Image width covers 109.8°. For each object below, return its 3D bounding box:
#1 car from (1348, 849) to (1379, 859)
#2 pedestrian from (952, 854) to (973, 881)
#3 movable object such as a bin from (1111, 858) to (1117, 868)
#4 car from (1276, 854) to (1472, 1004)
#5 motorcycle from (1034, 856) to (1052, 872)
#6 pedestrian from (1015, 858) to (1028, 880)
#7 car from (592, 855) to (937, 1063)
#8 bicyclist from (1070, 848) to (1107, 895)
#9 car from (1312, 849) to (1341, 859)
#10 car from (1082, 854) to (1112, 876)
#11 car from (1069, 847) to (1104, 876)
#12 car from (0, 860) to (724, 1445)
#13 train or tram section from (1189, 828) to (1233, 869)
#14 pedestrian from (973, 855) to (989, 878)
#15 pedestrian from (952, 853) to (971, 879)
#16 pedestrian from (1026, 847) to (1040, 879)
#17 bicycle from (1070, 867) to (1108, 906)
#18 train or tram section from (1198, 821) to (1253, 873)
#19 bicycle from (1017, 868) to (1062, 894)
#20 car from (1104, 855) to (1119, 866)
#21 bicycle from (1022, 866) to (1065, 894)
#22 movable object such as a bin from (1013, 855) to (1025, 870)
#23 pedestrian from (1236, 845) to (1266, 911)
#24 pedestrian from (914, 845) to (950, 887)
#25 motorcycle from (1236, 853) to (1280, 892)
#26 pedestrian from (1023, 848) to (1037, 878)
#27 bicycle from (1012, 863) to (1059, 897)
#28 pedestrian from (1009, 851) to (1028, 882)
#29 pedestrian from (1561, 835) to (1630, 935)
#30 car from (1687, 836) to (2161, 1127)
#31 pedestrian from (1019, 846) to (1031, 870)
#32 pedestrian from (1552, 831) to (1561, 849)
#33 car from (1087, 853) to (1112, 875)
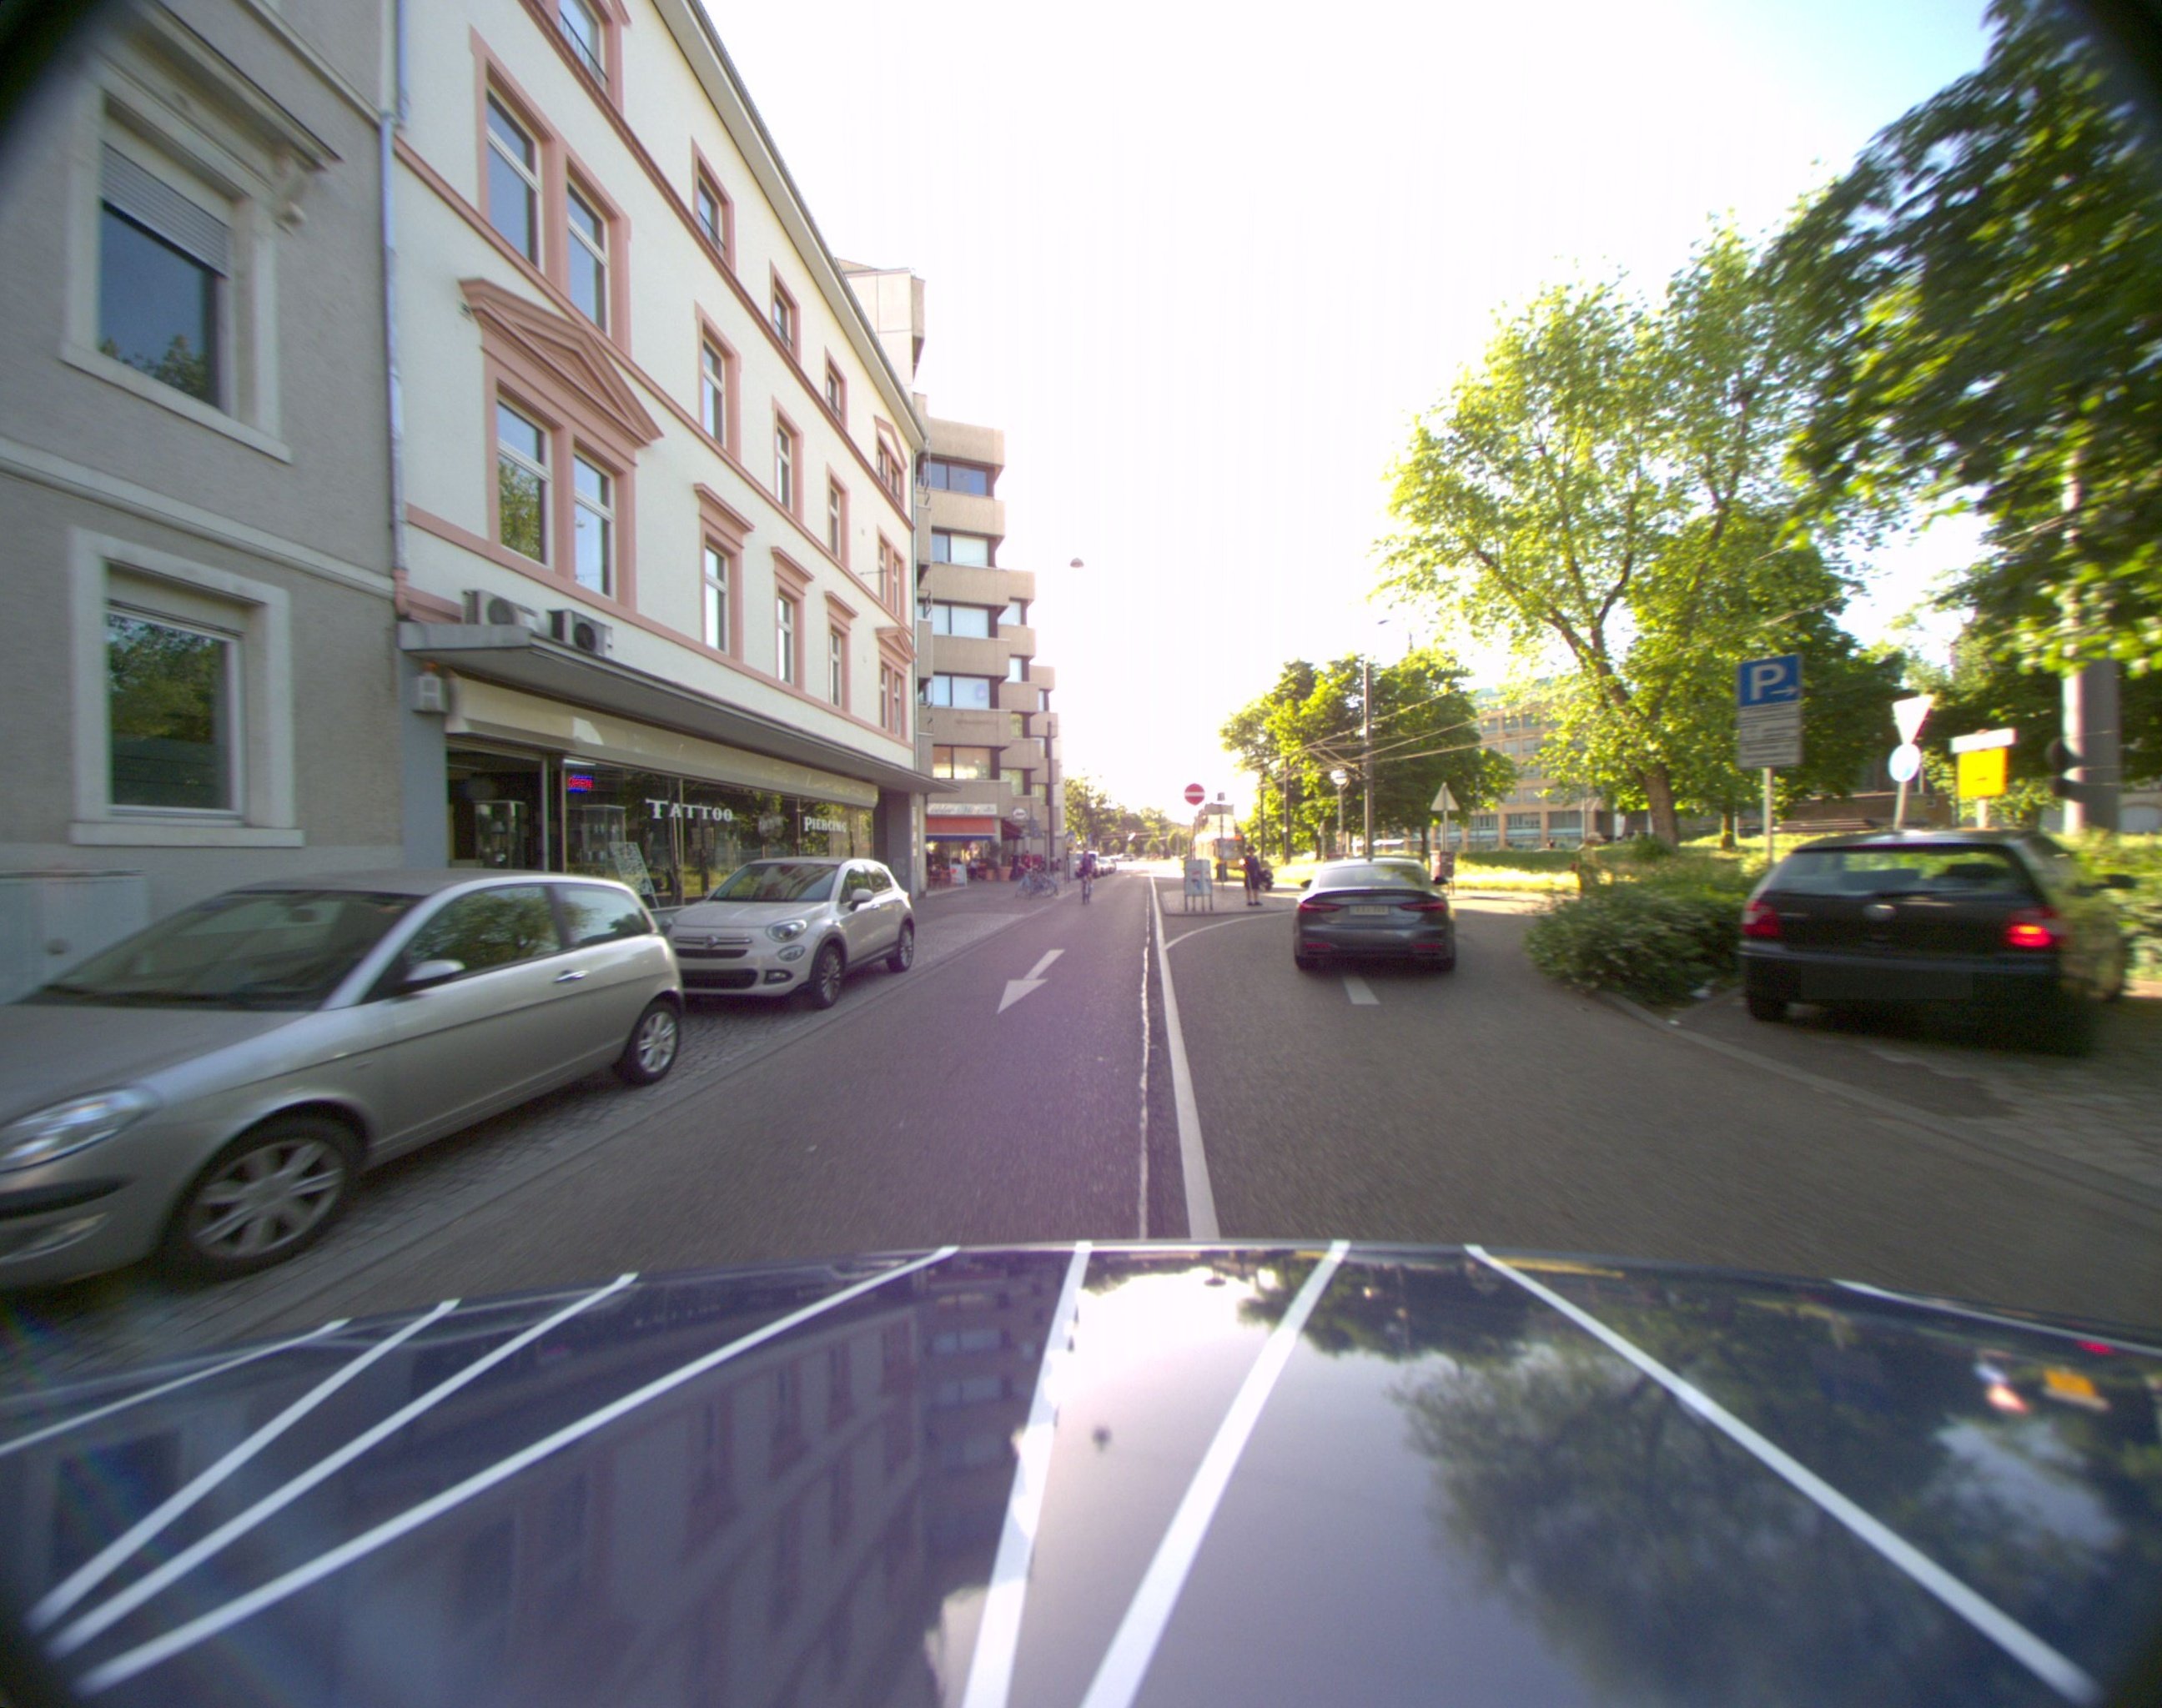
[{"bbox_3d":[47.499,-0.022,127.845,2.126,1.659,5.202,-3,1,-19],"label":"car"},{"bbox_3d":[-6.389,0.745,40.908,0.845,1.394,0.751,-3,0,-25],"label":"pedestrian"},{"bbox_3d":[3.585,0.986,82.552,0.606,1.063,0.545,-2,2,2],"label":"movable object such as a bin"},{"bbox_3d":[3.826,0.806,10.395,1.914,1.409,4.815,-2,1,18],"label":"car"},{"bbox_3d":[-2.883,0.745,57.615,0.765,1.148,2.049,1,2,15],"label":"motorcycle"},{"bbox_3d":[-3.497,0.856,44.495,0.631,1.229,0.625,1,2,8],"label":"pedestrian"},{"bbox_3d":[-3.363,0.971,9.393,1.749,1.729,4.961,-2,1,5],"label":"car"},{"bbox_3d":[0.255,0.575,25.274,1.039,1.475,0.989,-2,2,10],"label":"bicyclist"},{"bbox_3d":[40.119,-0.080,124.065,2.002,1.508,4.654,-3,1,-20],"label":"car"},{"bbox_3d":[1.279,0.833,59.061,1.778,1.445,4.732,-2,1,7],"label":"car"},{"bbox_3d":[0.436,0.466,52.144,1.998,1.802,4.310,-2,1,5],"label":"car"},{"bbox_3d":[-3.834,0.904,4.107,1.703,1.595,3.757,-1,1,6],"label":"car"},{"bbox_3d":[12.515,-0.506,74.407,2.955,3.591,13.639,-2,0,5],"label":"train or tram section"},{"bbox_3d":[-5.519,0.691,42.034,0.844,1.285,0.830,0,1,-7],"label":"pedestrian"},{"bbox_3d":[-6.609,0.659,42.035,0.845,1.394,0.830,-2,0,-20],"label":"pedestrian"},{"bbox_3d":[-2.779,0.521,44.426,0.672,1.846,0.610,1,2,8],"label":"pedestrian"},{"bbox_3d":[0.295,1.052,25.518,0.887,1.129,2.230,-2,1,10],"label":"bicycle"},{"bbox_3d":[11.452,-0.501,61.447,2.955,3.663,13.189,-2,0,5],"label":"train or tram section"},{"bbox_3d":[-1.657,1.074,30.212,1.705,0.998,0.428,-2,2,21],"label":"bicycle"},{"bbox_3d":[3.859,0.800,95.037,1.769,1.430,4.584,0,0,3],"label":"car"},{"bbox_3d":[-1.509,1.055,30.567,1.681,1.056,0.344,-2,2,21],"label":"bicycle"},{"bbox_3d":[-5.709,0.769,69.733,0.794,1.375,0.853,-2,2,13],"label":"movable object such as a bin"},{"bbox_3d":[4.451,0.613,19.943,0.637,1.663,0.693,-2,2,6],"label":"pedestrian"},{"bbox_3d":[-6.471,0.504,33.123,1.020,1.733,1.137,-2,2,19],"label":"pedestrian"},{"bbox_3d":[6.559,0.673,28.192,0.749,1.366,1.758,-3,1,-18],"label":"motorcycle"},{"bbox_3d":[-2.928,0.520,43.726,0.584,1.705,0.698,-2,2,8],"label":"pedestrian"},{"bbox_3d":[-1.721,0.985,28.747,1.623,1.236,0.660,-2,2,25],"label":"bicycle"},{"bbox_3d":[-3.542,0.697,42.835,0.845,1.700,0.718,0,1,-23],"label":"pedestrian"},{"bbox_3d":[9.135,0.535,13.492,0.671,1.689,0.803,-4,2,-36],"label":"pedestrian"},{"bbox_3d":[6.827,0.682,5.953,4.005,1.461,1.870,-3,1,-29],"label":"car"},{"bbox_3d":[-4.208,0.306,56.916,0.706,1.805,0.716,-3,2,-11],"label":"pedestrian"},{"bbox_3d":[41.616,-1.218,66.516,0.553,1.606,0.676,-1,2,43],"label":"pedestrian"},{"bbox_3d":[1.650,0.815,65.524,1.855,1.679,3.867,-2,1,5],"label":"car"}]
